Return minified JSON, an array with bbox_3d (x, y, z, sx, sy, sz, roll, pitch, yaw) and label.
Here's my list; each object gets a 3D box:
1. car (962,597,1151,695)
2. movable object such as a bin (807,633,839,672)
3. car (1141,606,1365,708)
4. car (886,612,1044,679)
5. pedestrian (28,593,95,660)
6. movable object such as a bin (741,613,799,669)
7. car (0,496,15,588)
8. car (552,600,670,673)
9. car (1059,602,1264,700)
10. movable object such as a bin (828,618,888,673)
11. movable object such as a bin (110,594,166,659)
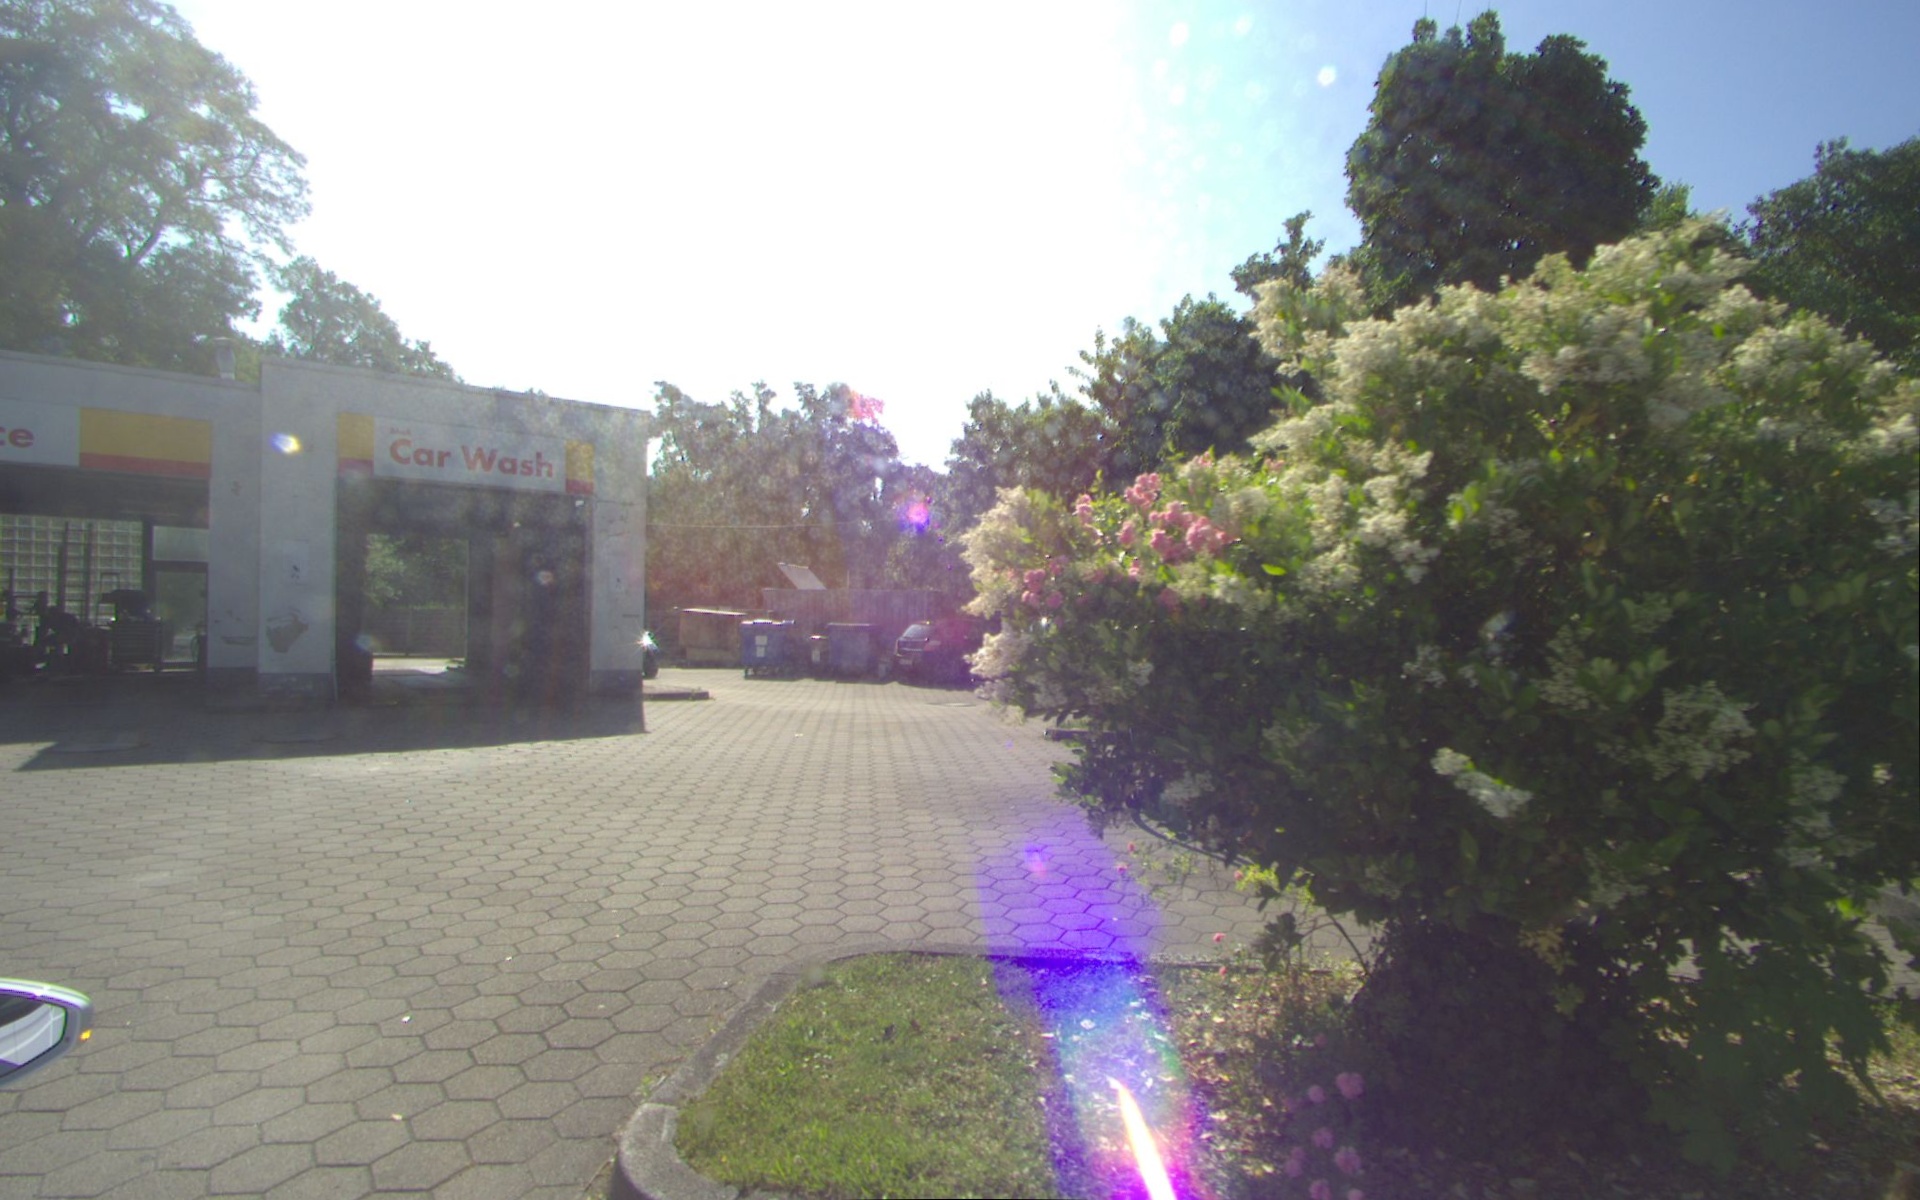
[{"bbox_3d":[2.077,0.882,21.030,3.893,1.817,1.670,-1,1,-39],"label":"car"},{"bbox_3d":[-3.388,1.294,24.832,0.484,0.922,0.865,1,-1,15],"label":"movable object such as a bin"},{"bbox_3d":[4.980,0.913,16.809,3.895,1.531,1.670,2,-1,-39],"label":"car"},{"bbox_3d":[0.150,1.062,24.045,3.466,1.457,1.672,2,1,-35],"label":"car"},{"bbox_3d":[-16.730,0.499,18.663,0.855,1.213,0.738,1,-2,-37],"label":"pedestrian"},{"bbox_3d":[-4.726,1.021,24.971,1.211,1.342,0.849,1,-1,7],"label":"movable object such as a bin"},{"bbox_3d":[-16.447,-1.065,15.738,1.630,1.504,3.976,1,-3,-34],"label":"car"},{"bbox_3d":[-8.306,0.883,23.689,1.706,1.595,3.368,1,-3,-37],"label":"car"},{"bbox_3d":[3.838,0.933,18.815,3.895,1.649,1.671,2,-2,-39],"label":"car"},{"bbox_3d":[-2.501,1.103,24.588,1.212,1.306,0.865,1,-1,16],"label":"movable object such as a bin"},{"bbox_3d":[-16.006,0.525,19.514,0.789,1.252,0.541,1,-2,-34],"label":"movable object such as a bin"}]
